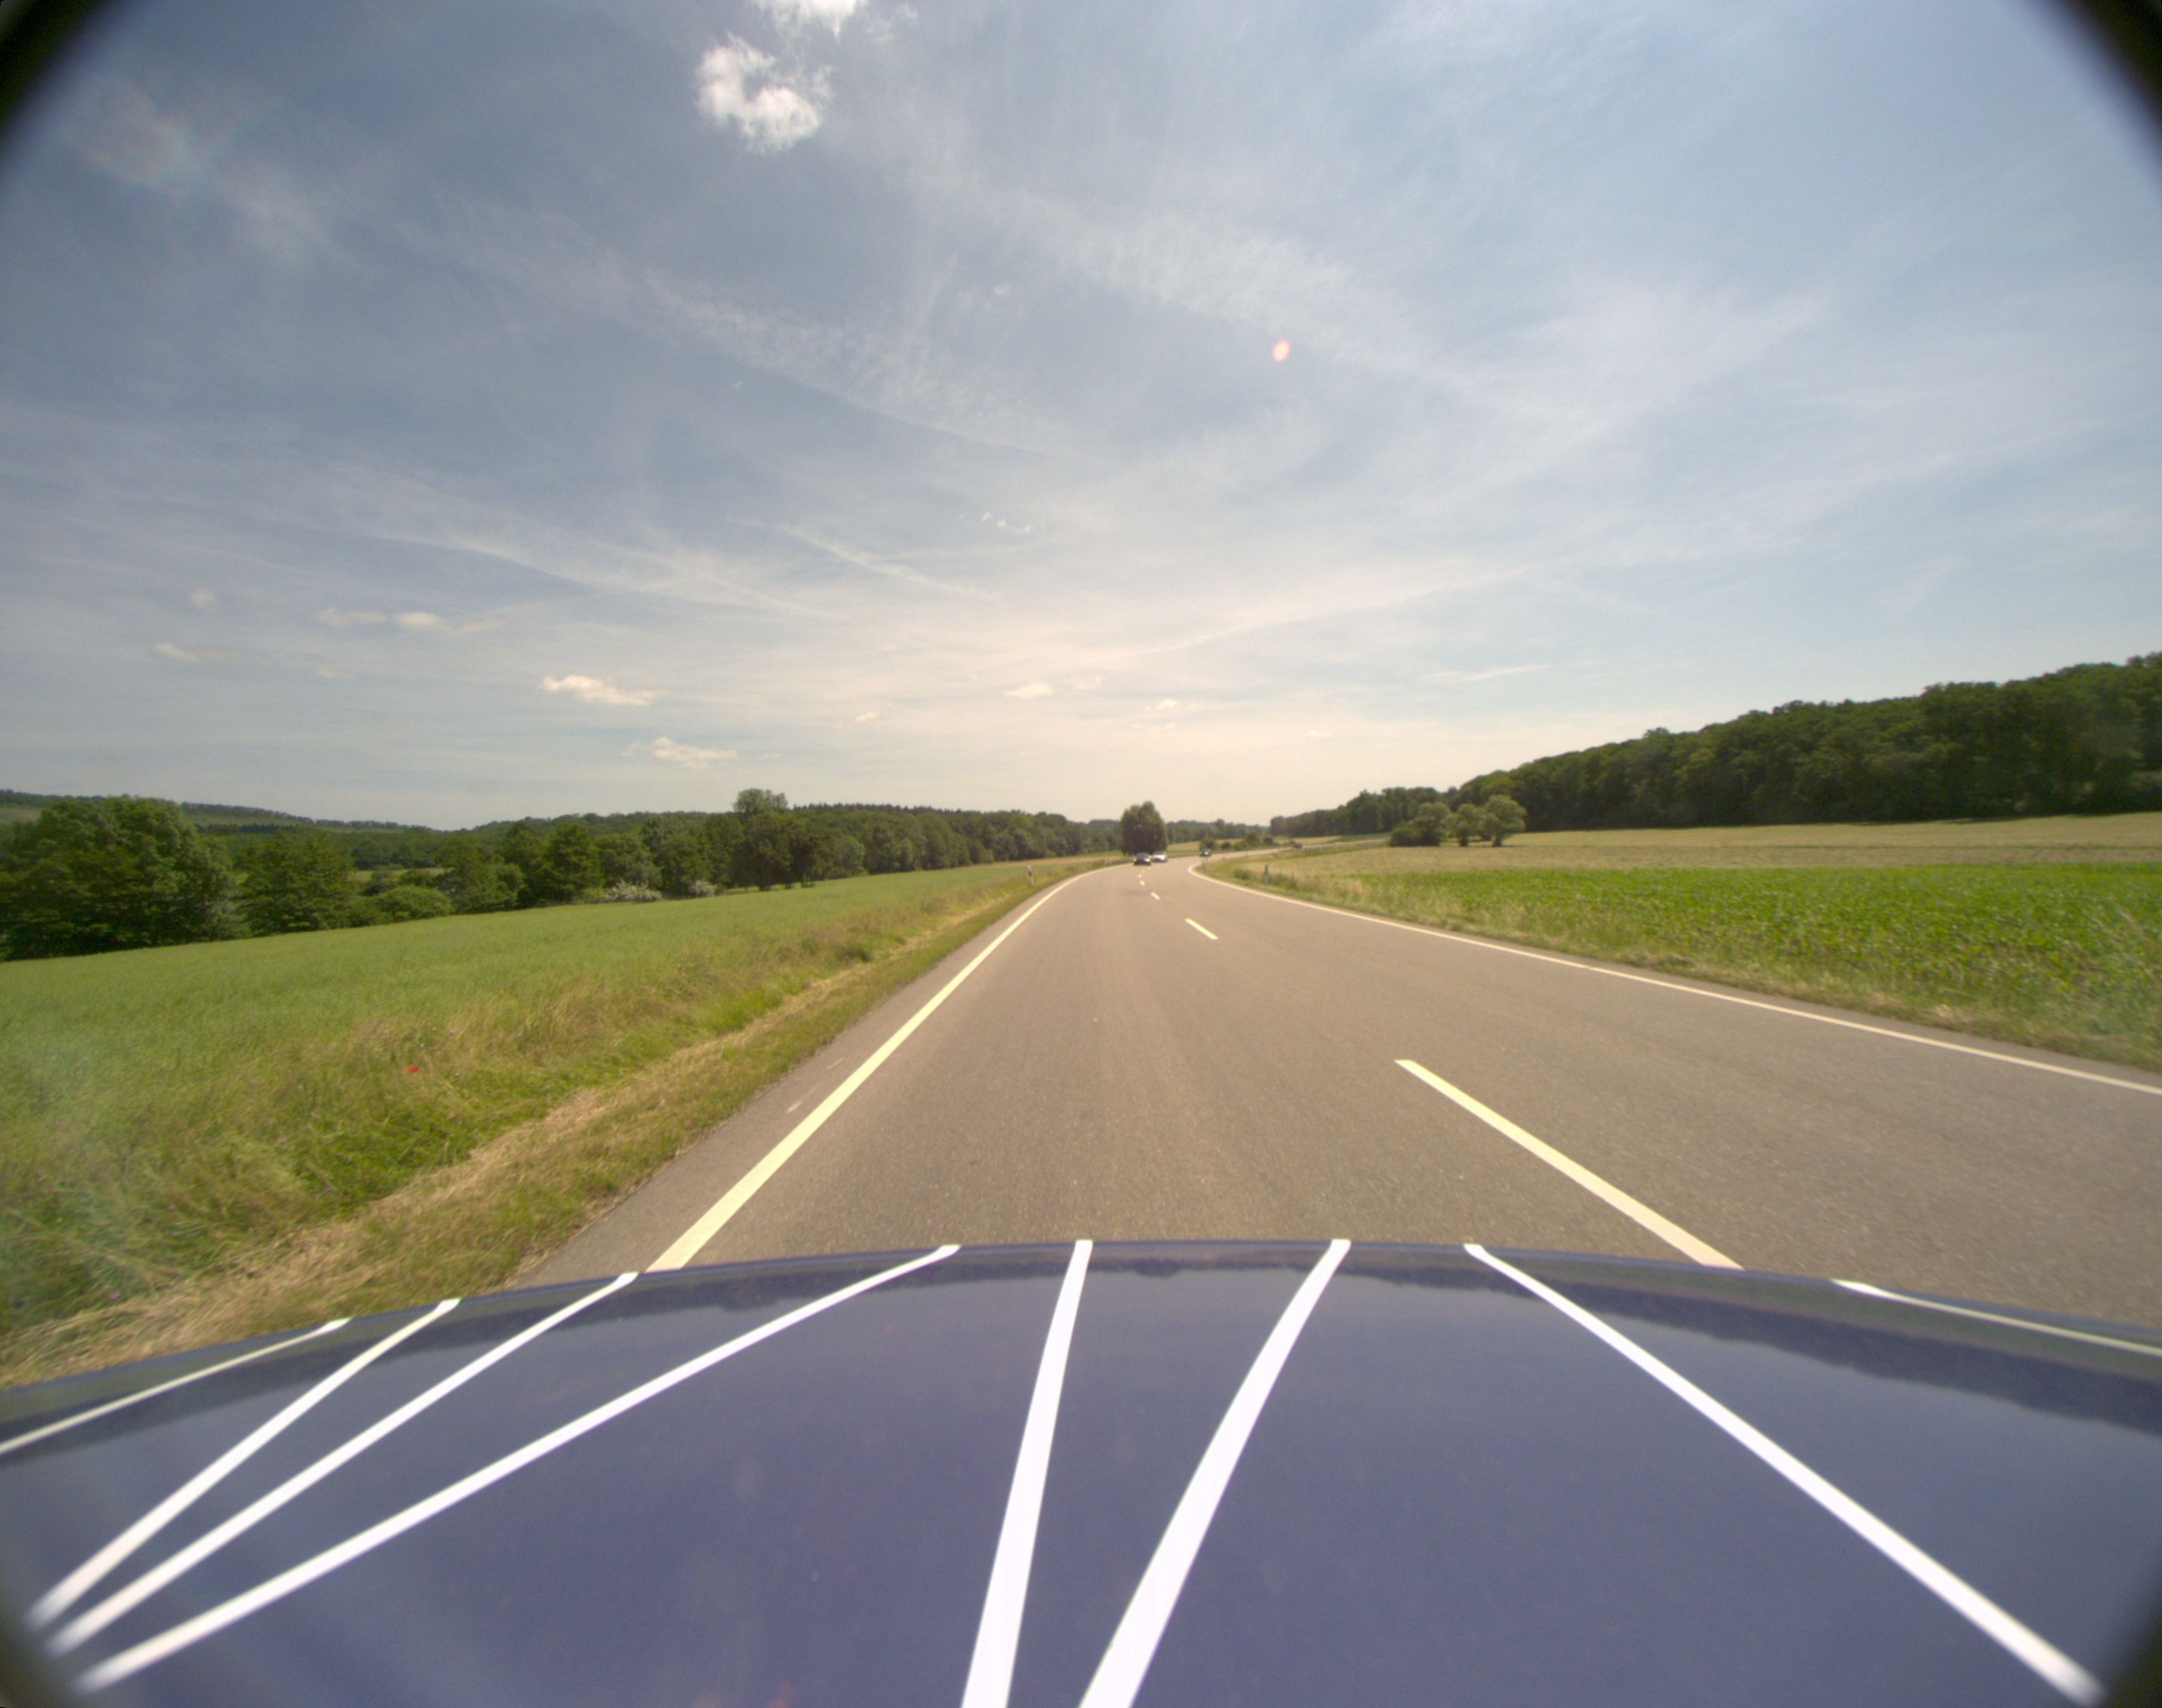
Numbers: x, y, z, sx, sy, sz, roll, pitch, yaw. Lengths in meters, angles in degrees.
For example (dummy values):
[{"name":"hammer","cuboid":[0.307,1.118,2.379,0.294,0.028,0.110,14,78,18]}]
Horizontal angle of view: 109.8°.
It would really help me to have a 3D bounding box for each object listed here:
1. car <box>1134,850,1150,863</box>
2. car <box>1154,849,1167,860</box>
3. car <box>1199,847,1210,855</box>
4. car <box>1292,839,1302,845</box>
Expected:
[{"name":"car","cuboid":[7.094,0.299,87.616,1.620,1.428,3.444,-1,1,7]},{"name":"car","cuboid":[11.087,0.081,105.895,1.620,1.428,3.446,-1,0,10]},{"name":"car","cuboid":[23.843,-0.539,146.454,1.620,1.429,3.445,-1,2,15]},{"name":"car","cuboid":[62.954,-3.504,221.305,1.618,1.429,3.449,0,3,35]}]
